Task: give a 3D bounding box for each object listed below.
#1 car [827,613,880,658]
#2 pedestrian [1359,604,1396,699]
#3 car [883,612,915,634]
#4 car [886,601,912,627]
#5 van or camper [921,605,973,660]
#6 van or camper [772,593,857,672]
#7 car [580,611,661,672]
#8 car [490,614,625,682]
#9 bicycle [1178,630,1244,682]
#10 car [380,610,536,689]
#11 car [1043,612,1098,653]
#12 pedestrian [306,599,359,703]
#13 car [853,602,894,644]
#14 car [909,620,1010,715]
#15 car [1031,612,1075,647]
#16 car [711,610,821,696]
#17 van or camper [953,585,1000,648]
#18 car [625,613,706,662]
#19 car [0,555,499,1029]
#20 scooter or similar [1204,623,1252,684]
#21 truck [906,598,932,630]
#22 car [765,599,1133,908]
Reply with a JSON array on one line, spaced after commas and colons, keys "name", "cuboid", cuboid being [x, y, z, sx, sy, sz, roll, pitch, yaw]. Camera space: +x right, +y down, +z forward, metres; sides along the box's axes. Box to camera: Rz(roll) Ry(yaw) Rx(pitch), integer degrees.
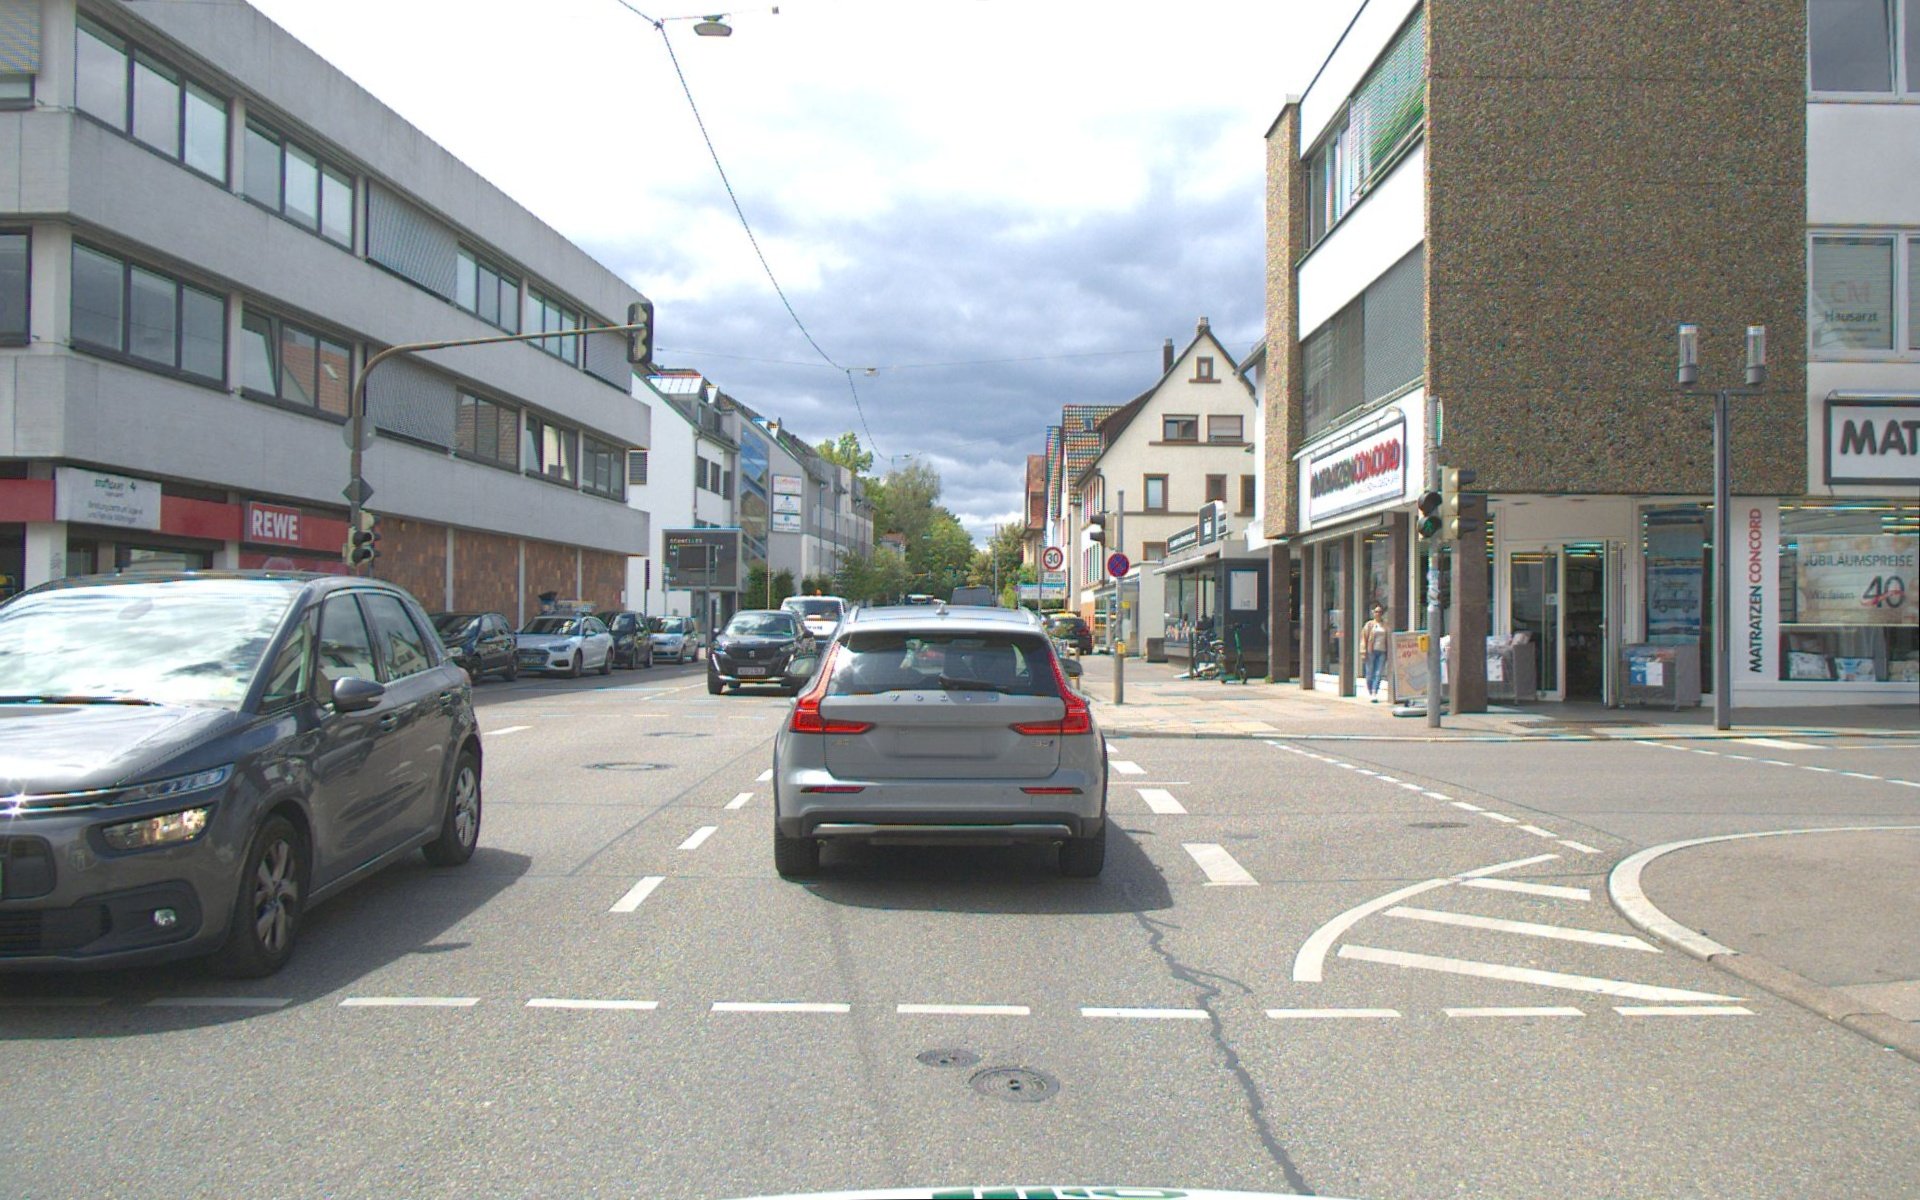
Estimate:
[{"name": "car", "cuboid": [-3.849, 1.265, 60.427, 1.634, 1.581, 4.215, 0, -1, 0]}, {"name": "pedestrian", "cuboid": [6.665, 0.818, 26.415, 0.493, 1.485, 0.500, -3, -2, 13]}, {"name": "car", "cuboid": [-4.141, 1.560, 112.324, 1.725, 1.451, 4.002, 0, 0, 4]}, {"name": "car", "cuboid": [-4.588, 1.059, 124.865, 1.761, 1.848, 3.999, 1, -2, 0]}, {"name": "van or camper", "cuboid": [-0.485, 1.212, 59.831, 1.782, 1.867, 3.998, 0, -3, -1]}, {"name": "van or camper", "cuboid": [-3.747, 0.798, 43.214, 1.827, 1.931, 4.691, 0, 0, -1]}, {"name": "car", "cuboid": [-9.338, 1.128, 45.657, 1.574, 1.570, 2.944, 2, 0, 0]}, {"name": "car", "cuboid": [-9.586, 1.106, 39.756, 1.864, 1.469, 4.445, 2, 0, 4]}, {"name": "bicycle", "cuboid": [5.813, 1.287, 38.465, 0.546, 1.164, 2.288, 0, -1, -18]}, {"name": "car", "cuboid": [-10.326, 0.993, 34.353, 1.747, 1.490, 4.088, 2, -1, 3]}, {"name": "car", "cuboid": [4.201, 1.261, 63.553, 1.676, 1.490, 3.997, 1, -2, -2]}, {"name": "pedestrian", "cuboid": [-10.234, 0.831, 27.005, 0.606, 1.670, 0.660, 0, -1, 0]}, {"name": "car", "cuboid": [-4.113, 1.102, 79.333, 1.801, 1.951, 4.154, 1, -1, -1]}, {"name": "car", "cuboid": [-0.037, 1.125, 28.596, 1.617, 1.508, 3.606, 1, -1, -1]}, {"name": "car", "cuboid": [4.289, 1.411, 76.858, 1.844, 1.526, 3.971, 1, -2, 0]}, {"name": "car", "cuboid": [-3.624, 0.948, 31.413, 1.648, 1.523, 3.966, 0, 0, 0]}, {"name": "van or camper", "cuboid": [0.747, 0.749, 75.193, 2.080, 2.733, 4.781, 0, 0, 0]}, {"name": "car", "cuboid": [-9.206, 1.152, 52.008, 1.719, 1.451, 3.863, 0, 0, 2]}, {"name": "car", "cuboid": [-3.530, 0.650, 7.704, 1.753, 1.617, 4.099, 0, 0, -2]}, {"name": "scooter or similar", "cuboid": [5.756, 1.144, 35.599, 0.336, 1.275, 1.235, -2, -1, -26]}, {"name": "truck", "cuboid": [-3.790, 1.282, 154.888, 2.229, 2.937, 7.078, 0, 0, 0]}, {"name": "car", "cuboid": [-0.085, 0.756, 10.141, 1.798, 1.512, 3.999, 0, 0, -1]}]
